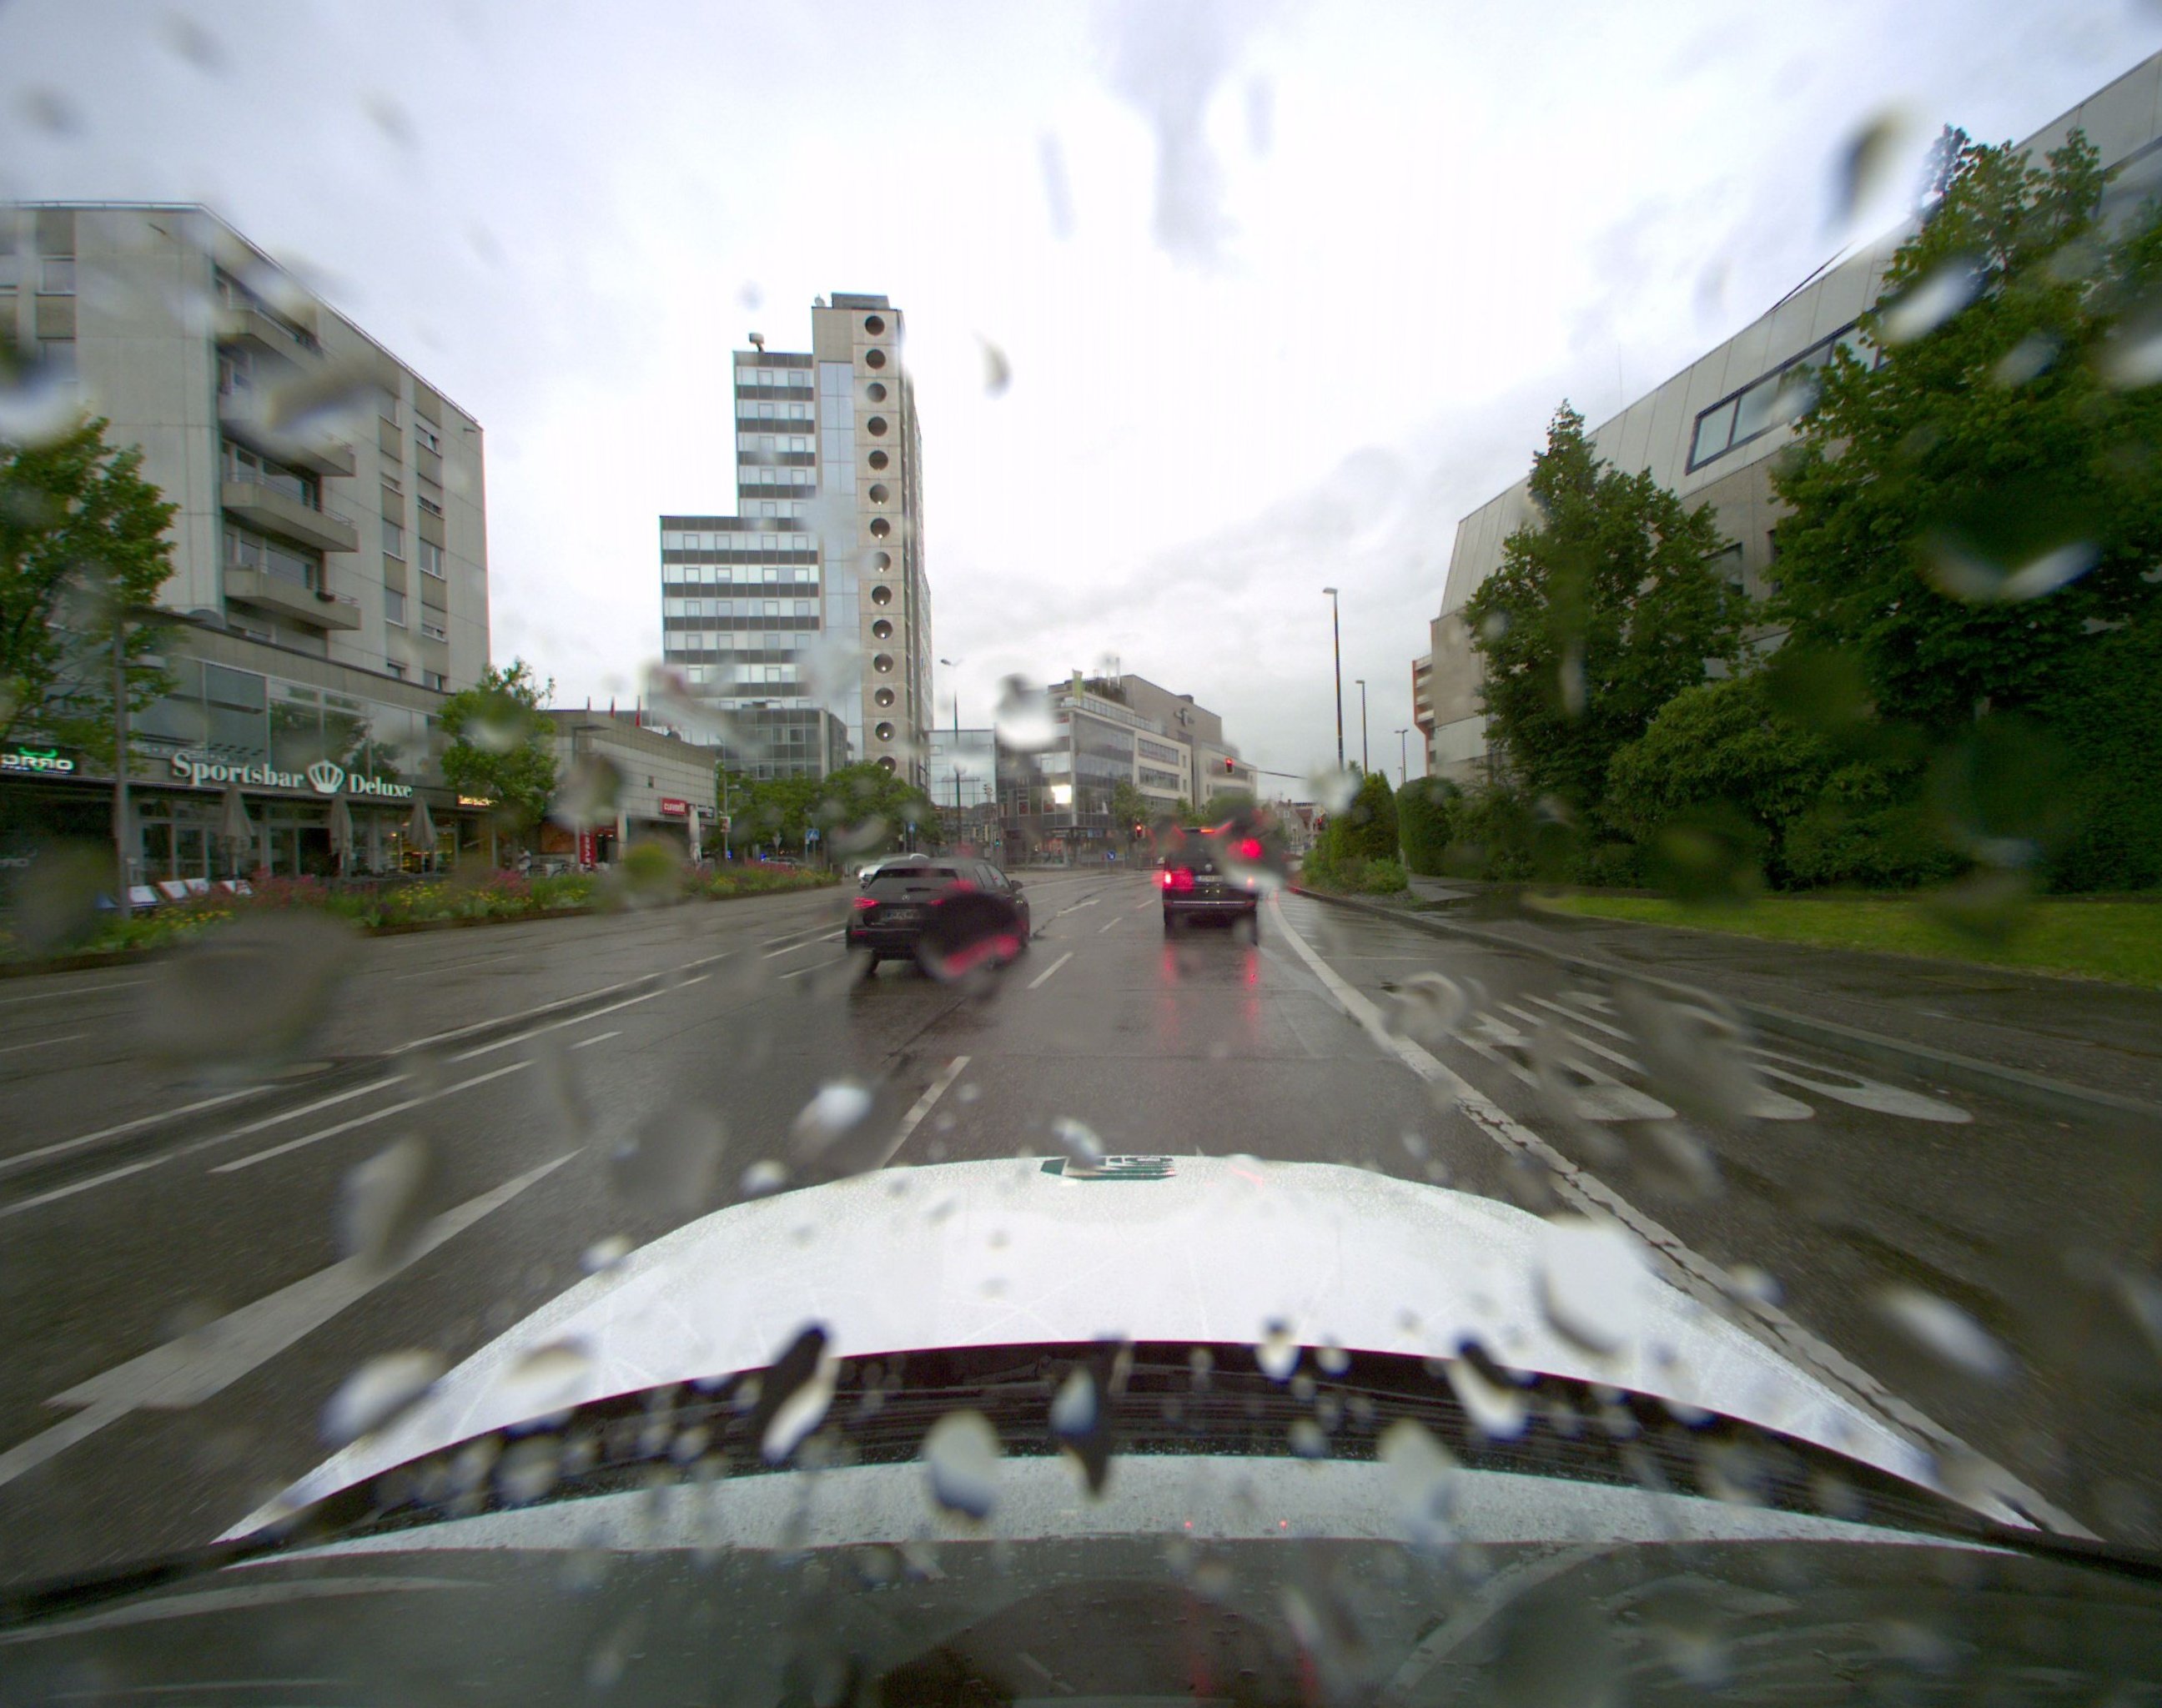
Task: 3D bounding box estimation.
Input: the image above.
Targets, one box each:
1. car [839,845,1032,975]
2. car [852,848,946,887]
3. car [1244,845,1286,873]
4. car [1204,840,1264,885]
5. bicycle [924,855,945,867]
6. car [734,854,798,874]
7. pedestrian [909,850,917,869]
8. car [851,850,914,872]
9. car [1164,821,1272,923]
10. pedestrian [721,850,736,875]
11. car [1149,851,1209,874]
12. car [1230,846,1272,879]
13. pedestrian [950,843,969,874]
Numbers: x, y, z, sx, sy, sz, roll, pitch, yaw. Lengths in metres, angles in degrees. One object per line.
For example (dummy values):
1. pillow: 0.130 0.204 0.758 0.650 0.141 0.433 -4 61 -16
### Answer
1. car: -1.841 0.637 11.537 1.807 1.529 3.816 0 1 4
2. car: -7.417 0.520 33.742 1.829 1.460 4.826 -1 0 13
3. car: 10.006 0.231 44.152 1.896 1.400 3.474 -2 0 18
4. car: 6.027 0.276 31.749 1.887 1.621 4.354 -1 0 16
5. bicycle: -16.458 0.816 91.526 2.271 1.247 0.675 -2 0 -7
6. car: -23.508 0.747 60.897 4.031 1.420 1.871 -1 0 1
7. pedestrian: -17.645 0.567 85.492 0.764 2.013 0.710 -1 0 -16
8. car: -14.677 0.496 60.485 4.177 1.595 1.870 -1 0 0
9. car: 2.989 0.348 17.548 1.983 1.894 4.600 -1 0 10
10. pedestrian: -19.006 0.458 43.908 0.491 1.347 0.540 -1 0 31
11. car: 7.742 0.651 64.071 4.523 1.682 1.872 -1 0 -34
12. car: 8.018 0.388 38.114 1.621 1.448 4.286 0 0 16
13. pedestrian: -8.226 0.286 55.090 1.163 2.013 1.323 -1 0 -12
